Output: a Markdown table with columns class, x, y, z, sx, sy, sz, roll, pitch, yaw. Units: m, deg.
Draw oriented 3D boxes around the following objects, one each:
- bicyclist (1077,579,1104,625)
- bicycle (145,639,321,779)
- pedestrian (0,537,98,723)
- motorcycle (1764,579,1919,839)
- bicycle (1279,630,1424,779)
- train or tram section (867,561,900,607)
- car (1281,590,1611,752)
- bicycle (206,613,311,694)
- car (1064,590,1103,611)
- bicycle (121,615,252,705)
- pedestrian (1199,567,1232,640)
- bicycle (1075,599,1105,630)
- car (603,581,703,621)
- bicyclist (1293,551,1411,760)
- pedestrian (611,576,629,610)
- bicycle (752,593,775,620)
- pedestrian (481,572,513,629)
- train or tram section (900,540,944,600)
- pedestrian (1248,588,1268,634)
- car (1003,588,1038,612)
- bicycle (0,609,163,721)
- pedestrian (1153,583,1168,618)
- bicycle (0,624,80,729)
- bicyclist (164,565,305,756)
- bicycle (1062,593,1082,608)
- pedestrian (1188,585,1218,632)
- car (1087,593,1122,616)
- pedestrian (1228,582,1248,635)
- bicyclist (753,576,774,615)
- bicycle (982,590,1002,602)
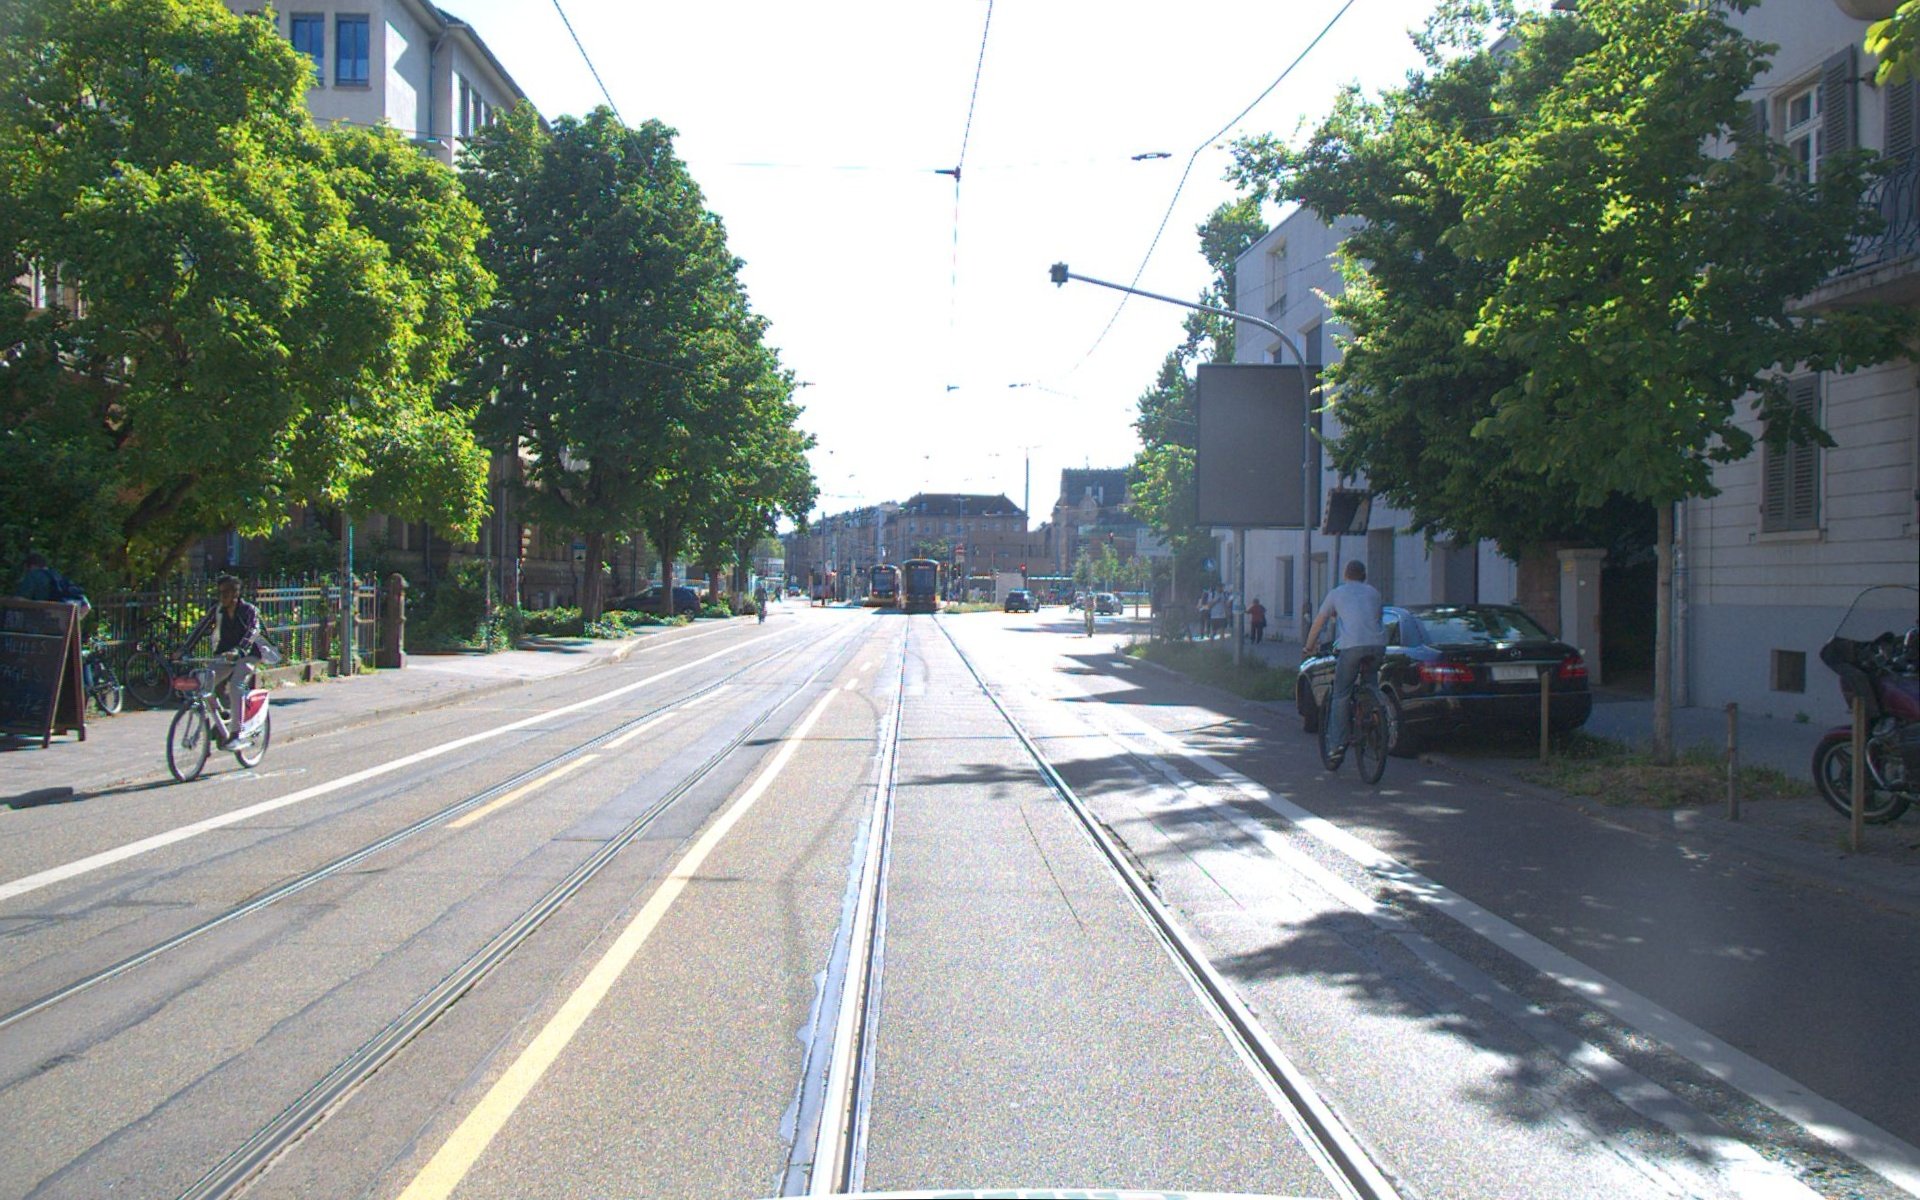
| class | x | y | z | sx | sy | sz | roll | pitch | yaw |
| --- | --- | --- | --- | --- | --- | --- | --- | --- | --- |
| bicyclist | 4.915 | 0.068 | 62.228 | 0.690 | 1.704 | 1.102 | 3 | 1 | 18 |
| bicycle | -6.512 | 0.946 | 14.929 | 0.730 | 1.101 | 1.899 | -2 | 0 | 0 |
| pedestrian | -9.399 | 0.300 | 17.040 | 0.563 | 1.863 | 0.690 | 1 | 0 | 17 |
| motorcycle | 6.032 | 0.630 | 10.126 | 0.895 | 1.514 | 2.679 | -1 | 0 | 0 |
| bicycle | 3.349 | 0.857 | 14.337 | 0.723 | 1.113 | 2.111 | 2 | 0 | 0 |
| train or tram section | -6.624 | -1.431 | 144.630 | 2.687 | 3.715 | 13.780 | 1 | 1 | -2 |
| car | 5.025 | 0.648 | 17.871 | 1.786 | 1.484 | 4.813 | -1 | 0 | -5 |
| bicycle | -9.903 | 0.733 | 23.414 | 0.577 | 1.064 | 1.905 | 3 | 0 | 2 |
| car | 10.500 | 0.038 | 140.852 | 1.672 | 1.672 | 3.701 | 3 | 1 | 33 |
| bicycle | -9.943 | 0.747 | 21.336 | 0.577 | 1.064 | 1.906 | 2 | 0 | 6 |
| pedestrian | 6.695 | 0.089 | 43.300 | 0.670 | 1.882 | 0.955 | 0 | 0 | -3 |
| bicycle | 4.895 | 0.542 | 62.233 | 0.690 | 1.124 | 1.718 | 3 | 1 | 18 |
| car | -13.424 | 0.037 | 72.353 | 3.943 | 1.577 | 1.860 | 2 | 0 | -29 |
| bicyclist | 3.365 | 0.460 | 14.278 | 0.723 | 1.715 | 0.972 | 2 | 0 | 0 |
| pedestrian | -17.114 | -0.350 | 83.241 | 0.686 | 1.663 | 0.759 | 3 | 0 | -2 |
| bicycle | -8.500 | 0.295 | 71.660 | 0.672 | 1.144 | 1.932 | -1 | 0 | 2 |
| pedestrian | -15.457 | 0.016 | 55.247 | 0.714 | 1.828 | 0.780 | 4 | 0 | 1 |
| train or tram section | -2.647 | -2.000 | 112.308 | 2.687 | 3.715 | 13.780 | 1 | 1 | -2 |
| pedestrian | 9.275 | 0.334 | 51.517 | 0.507 | 1.429 | 0.765 | 1 | 0 | 1 |
| car | 4.319 | 0.012 | 118.237 | 1.751 | 1.632 | 3.715 | 2 | 1 | 13 |
| bicycle | -9.950 | 0.704 | 18.812 | 0.632 | 1.163 | 1.906 | 3 | 0 | 6 |
| pedestrian | 11.226 | 0.003 | 92.679 | 0.624 | 1.937 | 1.134 | -1 | 0 | 0 |
| bicycle | -10.241 | 0.798 | 17.286 | 0.623 | 1.064 | 2.023 | 1 | 0 | 15 |
| bicyclist | -6.524 | 0.523 | 14.931 | 0.730 | 1.627 | 1.117 | -2 | 0 | 0 |
| bicycle | 8.237 | 0.023 | 121.217 | 0.691 | 1.073 | 2.313 | 3 | 1 | 23 |
| pedestrian | 8.909 | 0.320 | 60.638 | 0.840 | 1.669 | 0.992 | 0 | -2 | 27 |
| car | 10.462 | 0.295 | 119.513 | 1.751 | 1.537 | 3.715 | 2 | 1 | 16 |
| pedestrian | 8.673 | 0.270 | 51.618 | 0.507 | 1.628 | 0.765 | 1 | 0 | 1 |
| bicyclist | -8.509 | -0.183 | 71.641 | 0.672 | 1.673 | 1.238 | -1 | 0 | 2 |
| bicycle | 3.089 | -0.401 | 160.719 | 1.895 | 1.122 | 0.598 | 1 | 1 | -4 |
